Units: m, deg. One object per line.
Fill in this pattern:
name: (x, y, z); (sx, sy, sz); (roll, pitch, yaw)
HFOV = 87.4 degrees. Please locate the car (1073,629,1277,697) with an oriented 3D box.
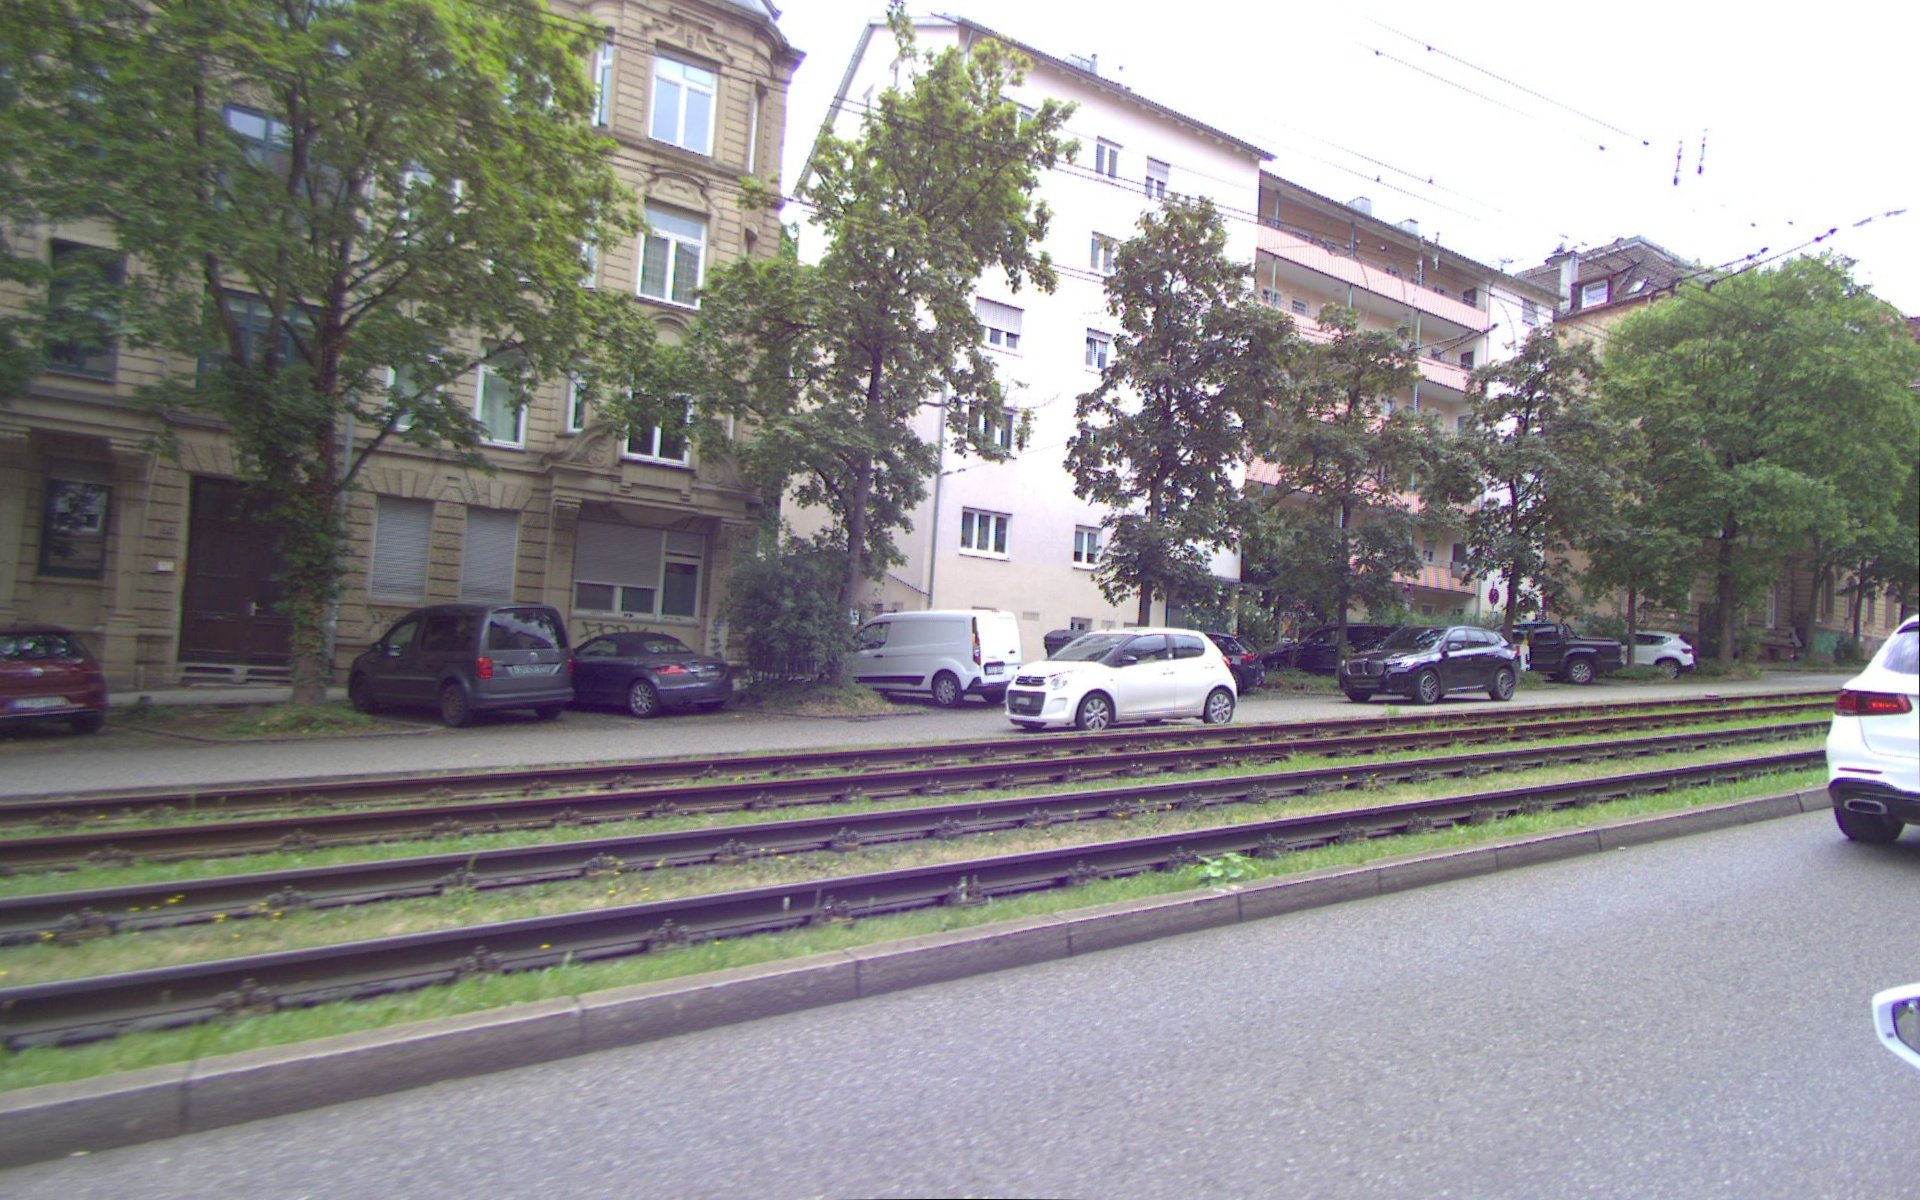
car: (5.224, 1.467, 24.489); (4.522, 1.362, 1.934); (1, 0, 28)

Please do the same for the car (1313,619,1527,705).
car: (9.878, 1.289, 21.492); (4.555, 1.671, 1.908); (1, -3, -31)

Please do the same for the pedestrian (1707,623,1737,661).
pedestrian: (34.870, 1.903, 45.947); (0.839, 1.706, 0.827); (1, -2, -32)

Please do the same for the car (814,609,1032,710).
car: (-0.788, 1.148, 20.402); (4.121, 1.860, 1.866); (-1, -2, 34)

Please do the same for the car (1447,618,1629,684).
car: (17.867, 1.531, 31.275); (4.514, 1.821, 1.937); (1, 0, 14)

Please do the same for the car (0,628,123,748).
car: (-13.240, 1.098, 13.440); (4.117, 1.454, 1.868); (-1, -2, 31)

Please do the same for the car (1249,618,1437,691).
car: (10.310, 1.393, 27.073); (4.522, 1.704, 1.934); (1, 0, 28)

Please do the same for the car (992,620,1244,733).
car: (2.299, 1.051, 14.504); (3.373, 1.454, 1.580); (1, -3, -31)

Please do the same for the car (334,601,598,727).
car: (-7.980, 0.964, 16.169); (4.117, 1.791, 1.868); (-1, -2, 31)

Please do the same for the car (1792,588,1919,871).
car: (7.843, 0.826, 6.954); (4.618, 1.689, 1.826); (2, 0, -32)

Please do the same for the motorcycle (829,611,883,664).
motorcycle: (-2.959, 1.037, 28.372); (0.759, 1.436, 2.167); (1, -2, -28)

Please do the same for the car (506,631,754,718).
car: (-5.792, 1.220, 17.548); (4.117, 1.357, 1.868); (-1, -2, 31)

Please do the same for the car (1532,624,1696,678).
car: (22.542, 1.713, 34.840); (4.522, 1.639, 1.934); (1, 0, 27)

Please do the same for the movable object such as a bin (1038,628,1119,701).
movable object such as a bin: (2.461, 1.307, 20.862); (1.261, 1.419, 1.090); (0, -1, 45)
